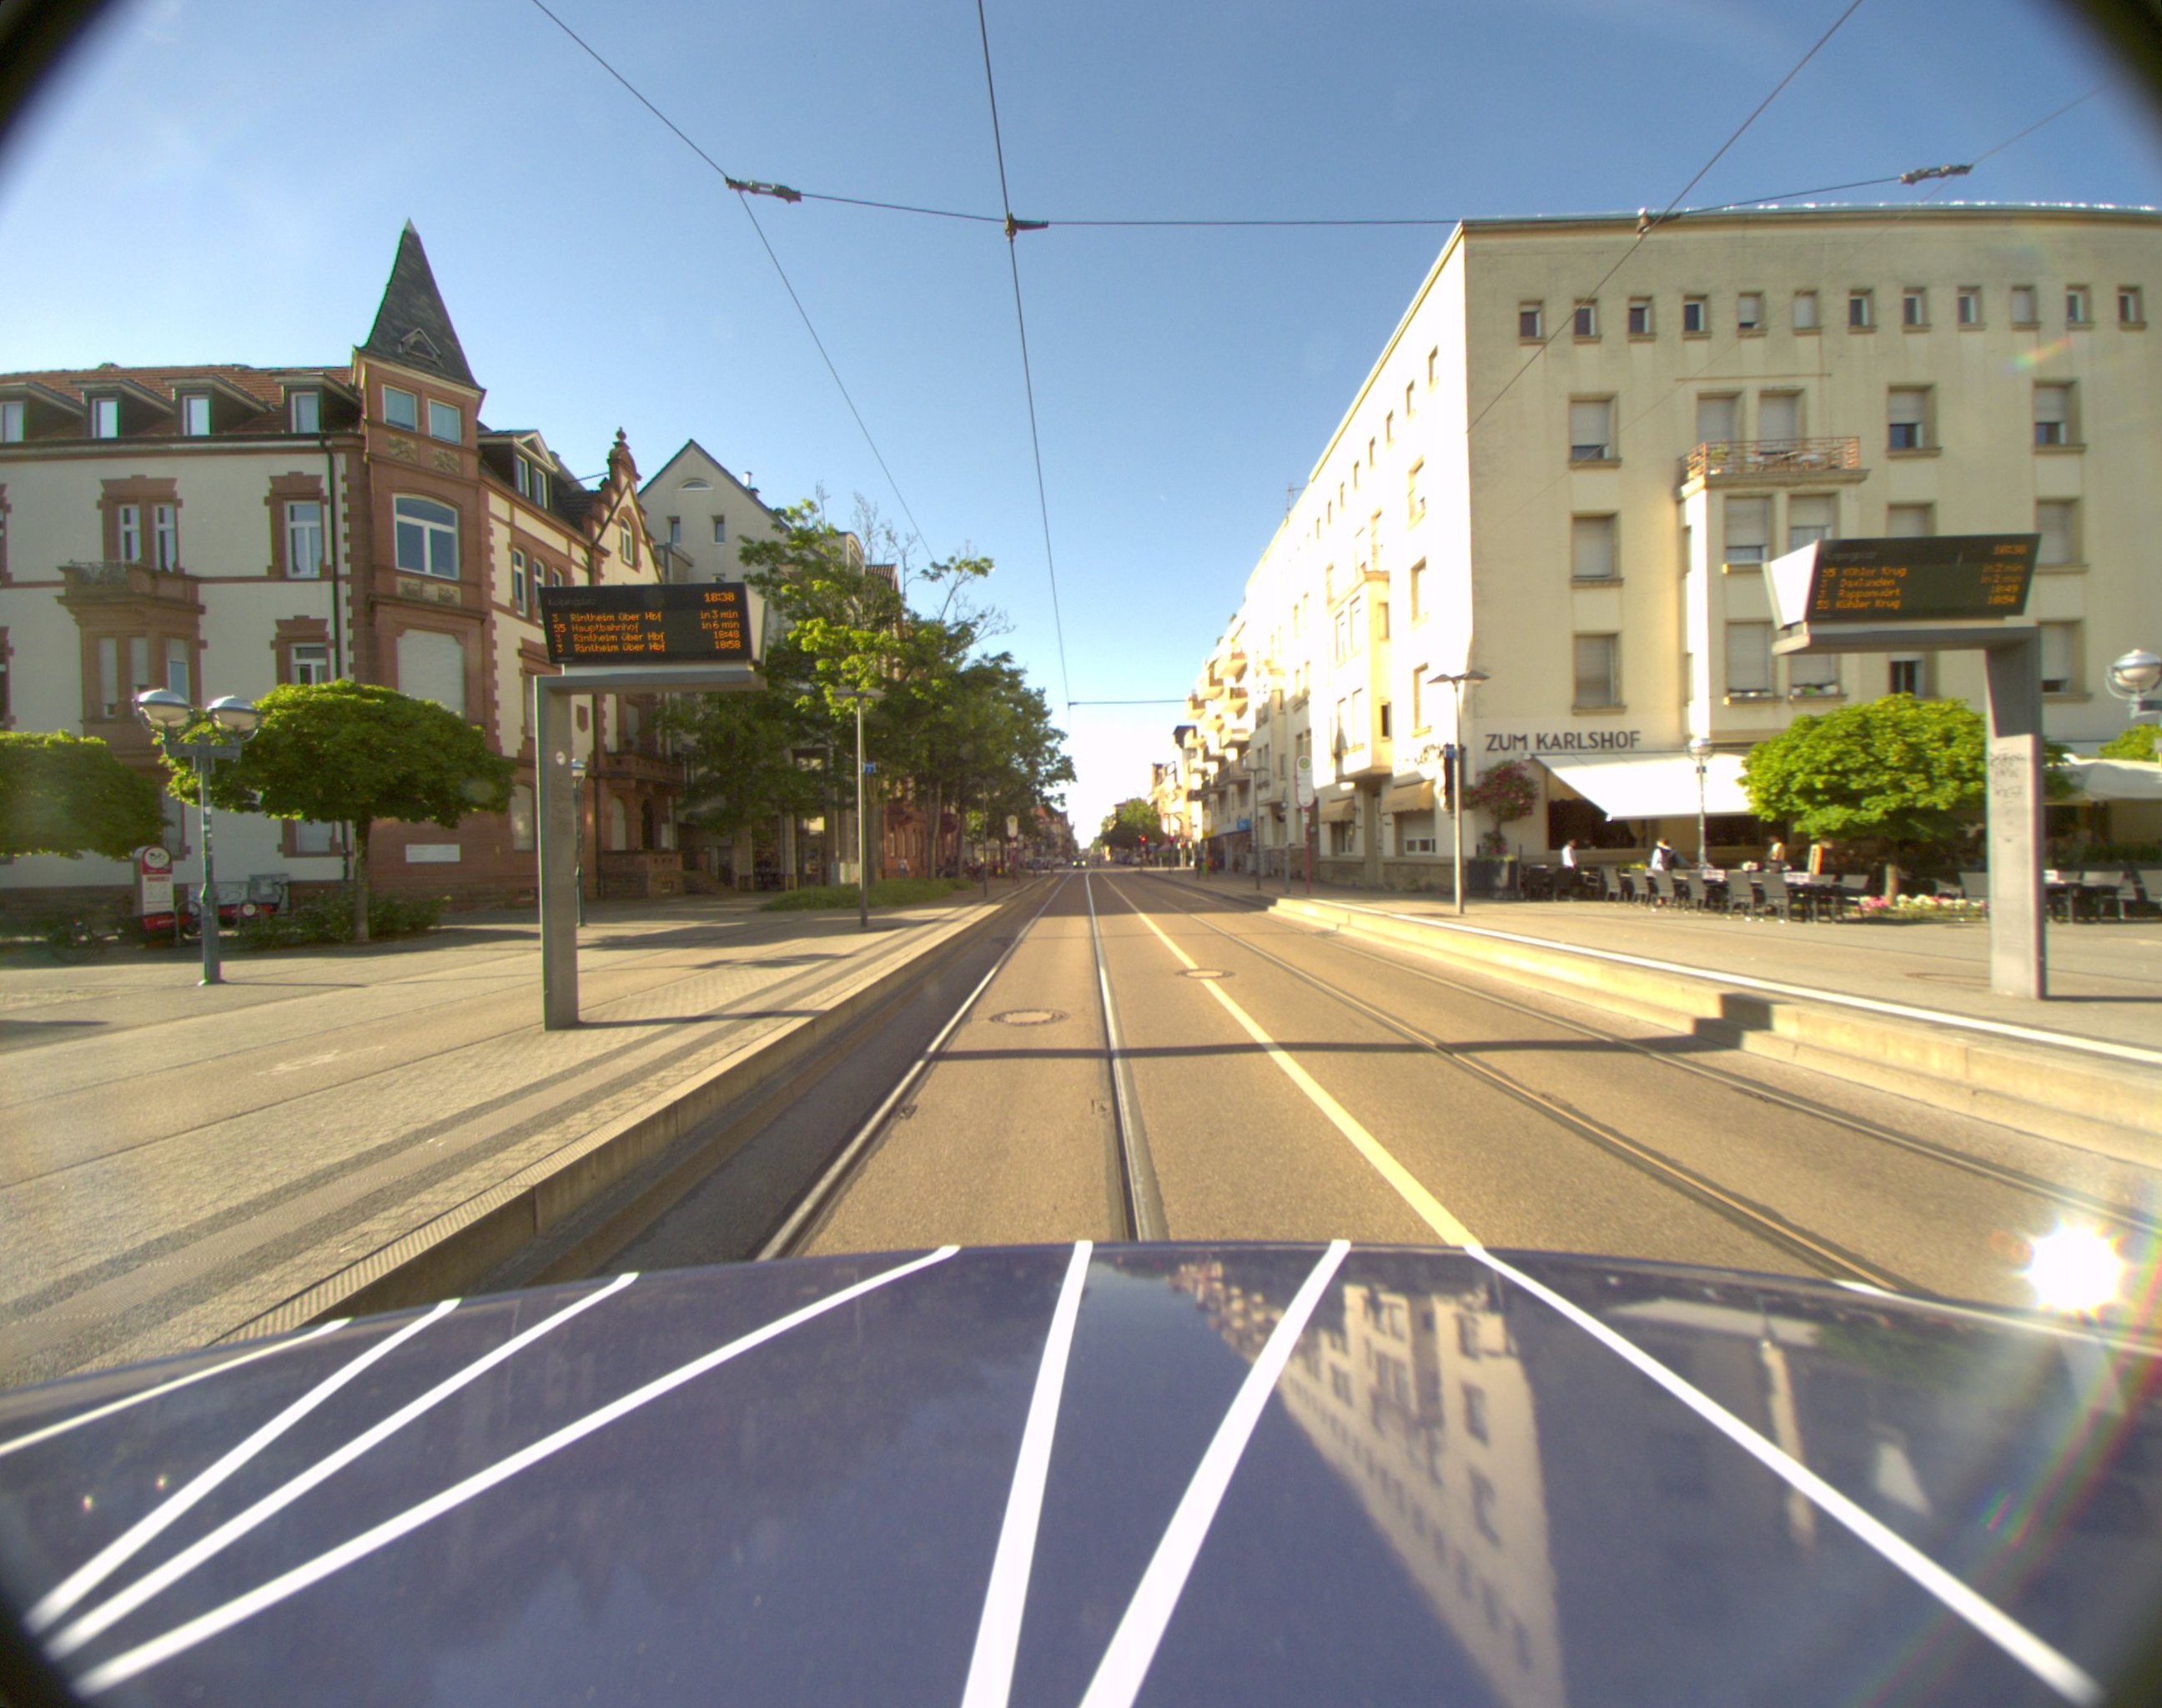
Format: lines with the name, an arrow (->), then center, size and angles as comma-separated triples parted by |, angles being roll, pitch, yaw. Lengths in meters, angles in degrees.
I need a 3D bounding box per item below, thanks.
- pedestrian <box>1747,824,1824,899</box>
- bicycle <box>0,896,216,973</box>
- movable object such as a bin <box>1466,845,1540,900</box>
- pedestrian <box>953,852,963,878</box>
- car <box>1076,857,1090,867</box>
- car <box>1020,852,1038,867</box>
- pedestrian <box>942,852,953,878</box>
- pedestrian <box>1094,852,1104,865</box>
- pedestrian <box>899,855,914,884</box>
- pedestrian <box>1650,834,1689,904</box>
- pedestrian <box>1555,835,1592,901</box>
pedestrian -> 16.011, 0.170, 17.287 | 1.066, 1.635, 0.756 | -1, 1, -4
bicycle -> -18.238, 1.455, 14.379 | 0.790, 1.062, 2.804 | -2, 2, -8
movable object such as a bin -> 11.173, 0.479, 20.156 | 1.318, 1.392, 1.128 | -1, 1, -1
pedestrian -> -9.727, 0.851, 60.046 | 0.653, 2.002, 0.559 | -1, 1, 3
car -> 0.259, 1.189, 109.859 | 1.998, 1.318, 3.863 | -1, 0, 1
car -> -7.194, 0.691, 105.499 | 1.998, 2.002, 4.001 | -1, 0, 4
pedestrian -> -10.548, 0.851, 60.058 | 0.653, 2.002, 0.559 | -1, 1, 3
pedestrian -> 2.655, 0.652, 112.127 | 1.334, 1.990, 1.138 | -1, 1, 1
pedestrian -> -10.586, 0.910, 46.117 | 0.742, 1.725, 0.877 | -1, 1, -6
pedestrian -> 14.125, 0.380, 18.255 | 0.672, 1.634, 0.678 | -2, -3, 36
pedestrian -> 12.576, 0.370, 19.420 | 0.672, 1.634, 0.752 | -1, -2, 27
